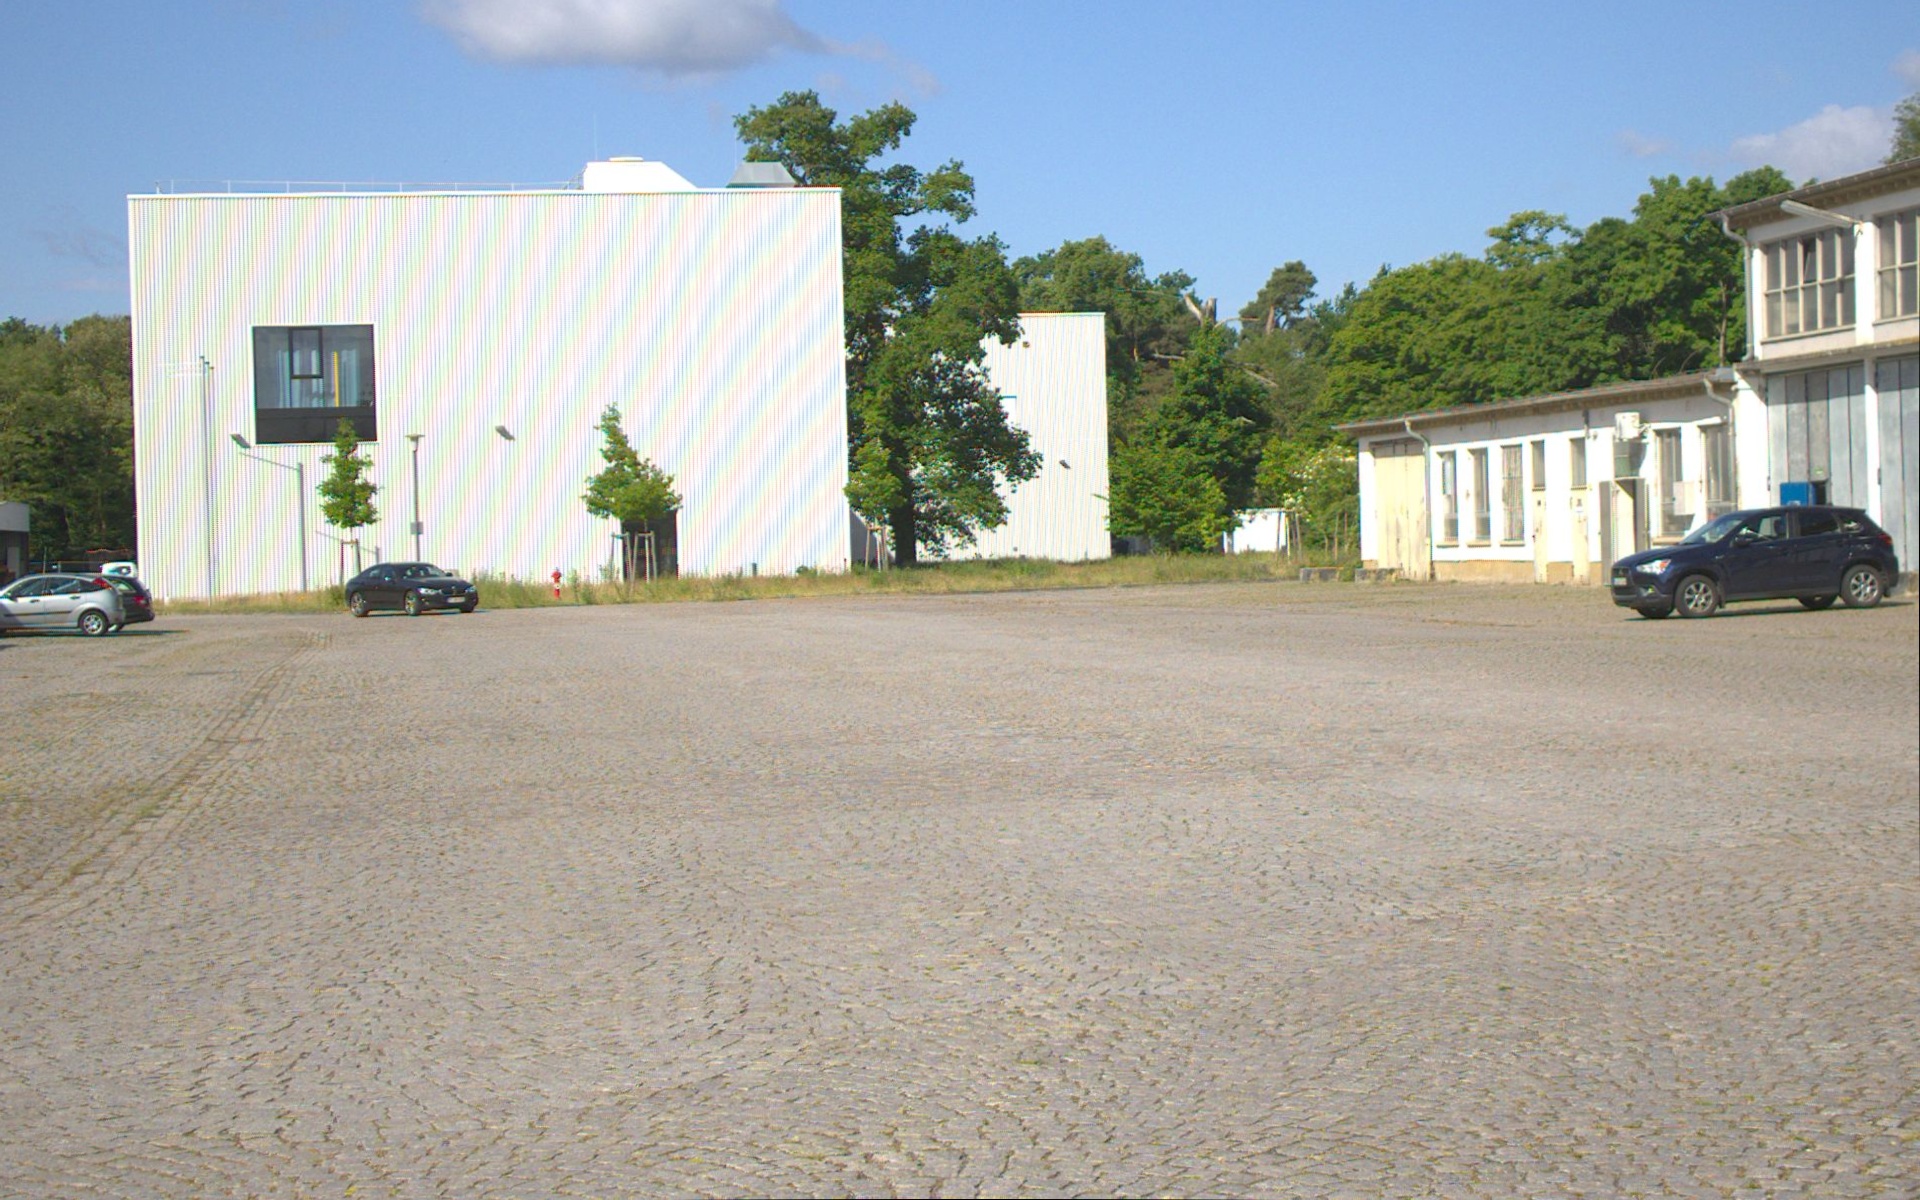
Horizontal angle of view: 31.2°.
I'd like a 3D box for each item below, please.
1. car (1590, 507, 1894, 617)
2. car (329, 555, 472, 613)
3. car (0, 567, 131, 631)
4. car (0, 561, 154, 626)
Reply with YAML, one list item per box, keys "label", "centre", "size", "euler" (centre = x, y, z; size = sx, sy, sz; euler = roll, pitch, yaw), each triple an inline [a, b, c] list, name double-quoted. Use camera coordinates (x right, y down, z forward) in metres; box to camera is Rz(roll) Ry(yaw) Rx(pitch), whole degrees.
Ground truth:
- label: "car"
  centre: [11.780, -0.576, 51.871]
  size: [4.062, 1.464, 1.741]
  euler: [-2, 1, -11]
- label: "car"
  centre: [-14.608, -0.418, 89.637]
  size: [1.736, 1.424, 4.074]
  euler: [-2, 1, -41]
- label: "car"
  centre: [-21.649, -0.021, 80.645]
  size: [4.173, 1.399, 1.741]
  euler: [-2, 1, -11]
- label: "car"
  centre: [-21.963, -0.145, 83.875]
  size: [4.343, 1.464, 1.741]
  euler: [-2, 1, -11]
